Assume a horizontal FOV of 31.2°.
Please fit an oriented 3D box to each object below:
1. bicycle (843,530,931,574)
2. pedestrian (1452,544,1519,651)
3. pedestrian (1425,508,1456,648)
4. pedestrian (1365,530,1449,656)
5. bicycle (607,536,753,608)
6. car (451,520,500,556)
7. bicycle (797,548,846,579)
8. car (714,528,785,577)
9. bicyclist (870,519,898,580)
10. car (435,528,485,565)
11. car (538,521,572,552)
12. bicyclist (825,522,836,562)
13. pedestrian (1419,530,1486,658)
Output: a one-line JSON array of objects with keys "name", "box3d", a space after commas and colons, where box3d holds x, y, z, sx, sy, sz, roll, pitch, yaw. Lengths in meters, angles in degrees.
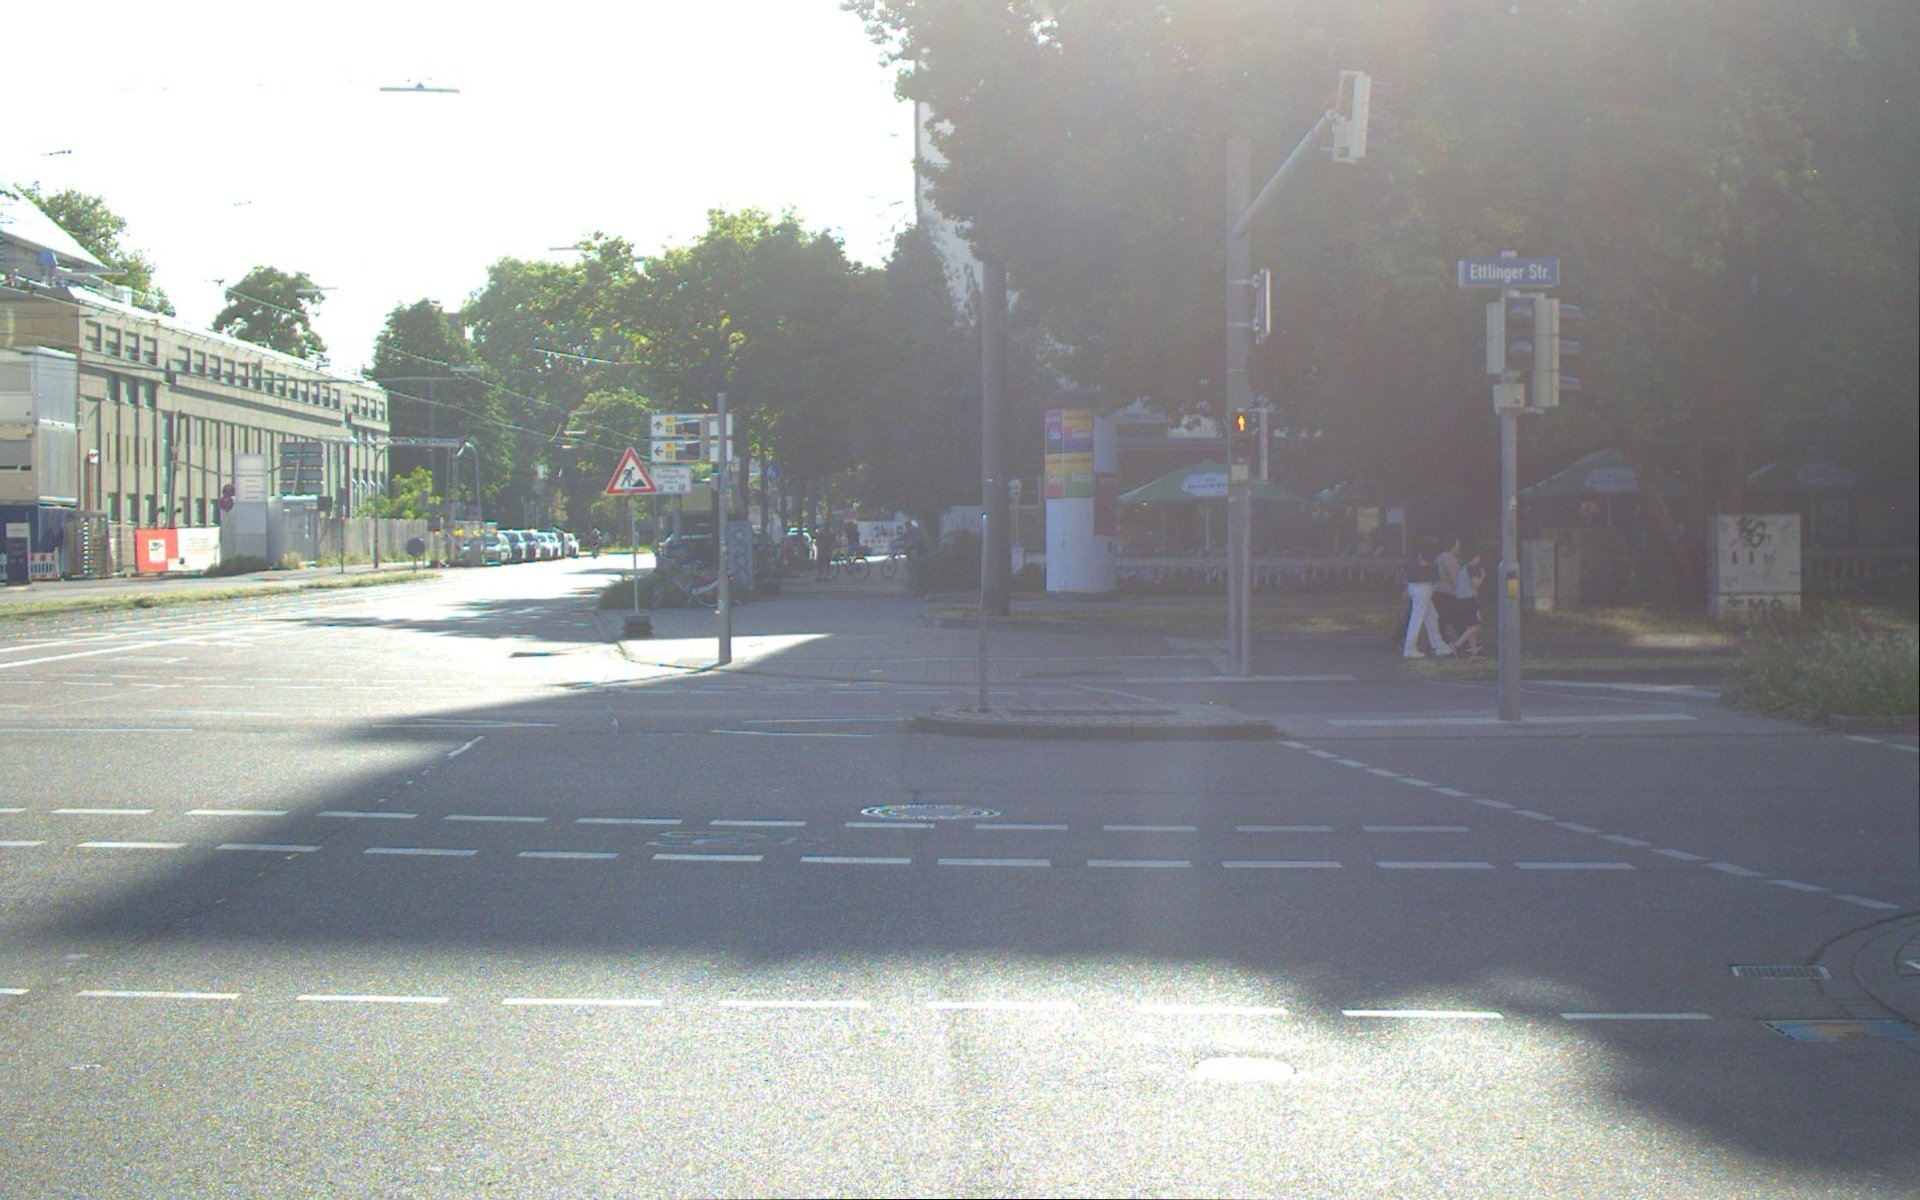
[{"name": "bicycle", "box3d": [-2.191, -1.434, 103.347, 2.568, 1.284, 0.728, 1, 0, -6]}, {"name": "pedestrian", "box3d": [6.596, -0.032, 43.170, 0.752, 1.328, 0.742, 0, 1, 2]}, {"name": "pedestrian", "box3d": [6.193, -0.283, 44.316, 0.361, 1.798, 0.506, 0, 1, 11]}, {"name": "pedestrian", "box3d": [5.697, -0.090, 43.873, 0.984, 1.582, 0.660, 0, 0, 1]}, {"name": "bicycle", "box3d": [-5.467, -0.550, 67.134, 2.748, 1.363, 0.630, 1, 0, 11]}, {"name": "car", "box3d": [-22.544, -2.877, 160.146, 1.731, 1.647, 4.000, 0, 1, -1]}, {"name": "bicycle", "box3d": [-3.961, -1.037, 98.308, 1.478, 0.865, 0.325, -1, 1, -36]}, {"name": "car", "box3d": [-5.629, -1.289, 92.298, 1.819, 1.274, 4.001, 0, 1, -3]}, {"name": "bicyclist", "box3d": [-2.287, -1.519, 103.363, 0.804, 1.838, 0.731, 0, 1, -1]}, {"name": "car", "box3d": [-22.673, -2.448, 155.923, 1.731, 1.647, 4.000, 0, 1, -1]}, {"name": "car", "box3d": [-22.825, -3.574, 193.946, 1.483, 1.744, 4.000, -1, 1, -1]}, {"name": "bicyclist", "box3d": [-3.692, -1.657, 98.276, 0.318, 1.124, 0.291, 0, 1, -2]}, {"name": "pedestrian", "box3d": [6.367, -0.085, 44.482, 0.795, 1.634, 0.533, 0, 1, 2]}]
